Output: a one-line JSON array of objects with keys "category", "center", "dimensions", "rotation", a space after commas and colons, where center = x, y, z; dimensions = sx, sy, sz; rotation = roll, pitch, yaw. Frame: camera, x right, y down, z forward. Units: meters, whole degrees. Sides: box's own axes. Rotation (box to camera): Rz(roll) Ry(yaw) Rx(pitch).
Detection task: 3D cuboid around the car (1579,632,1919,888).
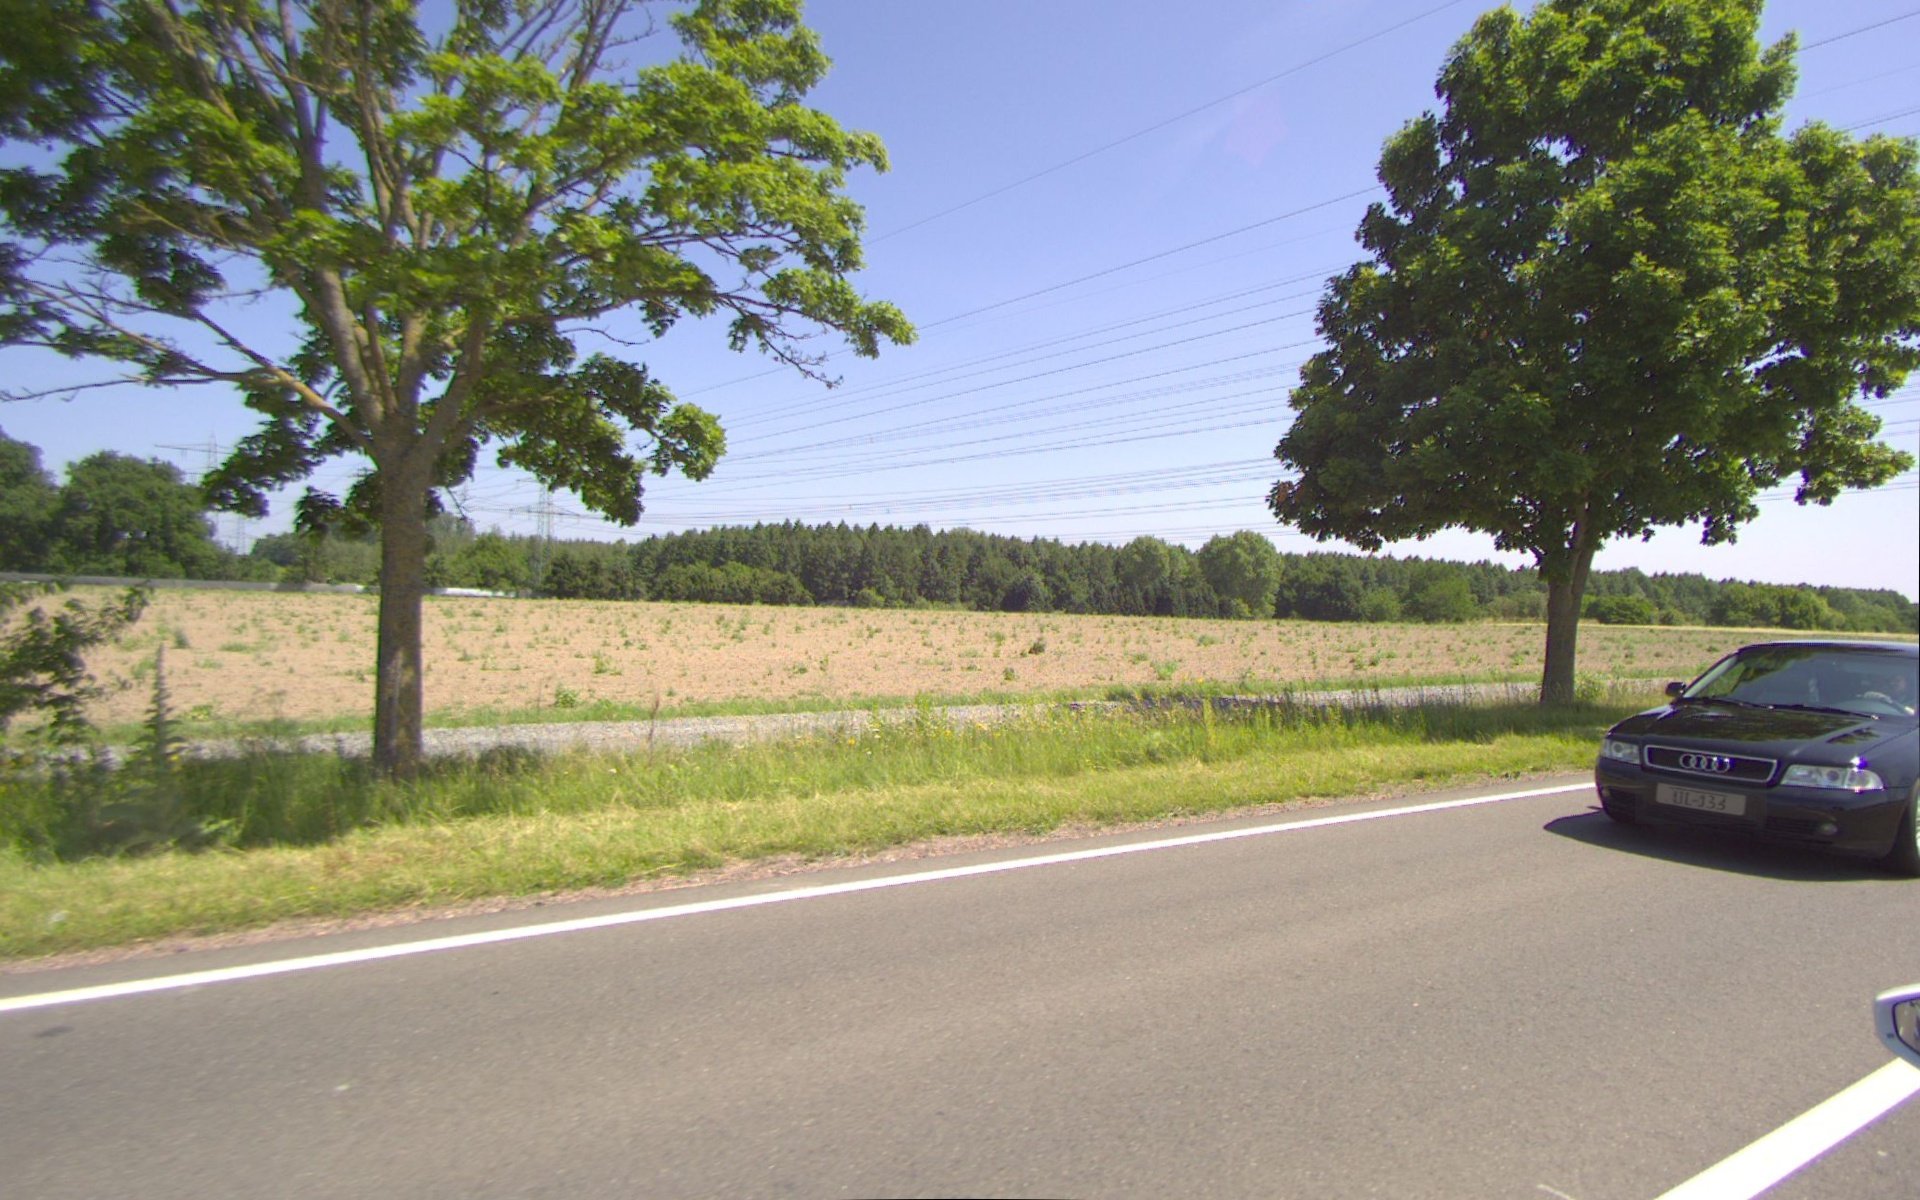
[{"category": "car", "center": [6.425, 0.959, 7.313], "dimensions": [3.956, 1.350, 1.695], "rotation": [2, 0, -32]}]
